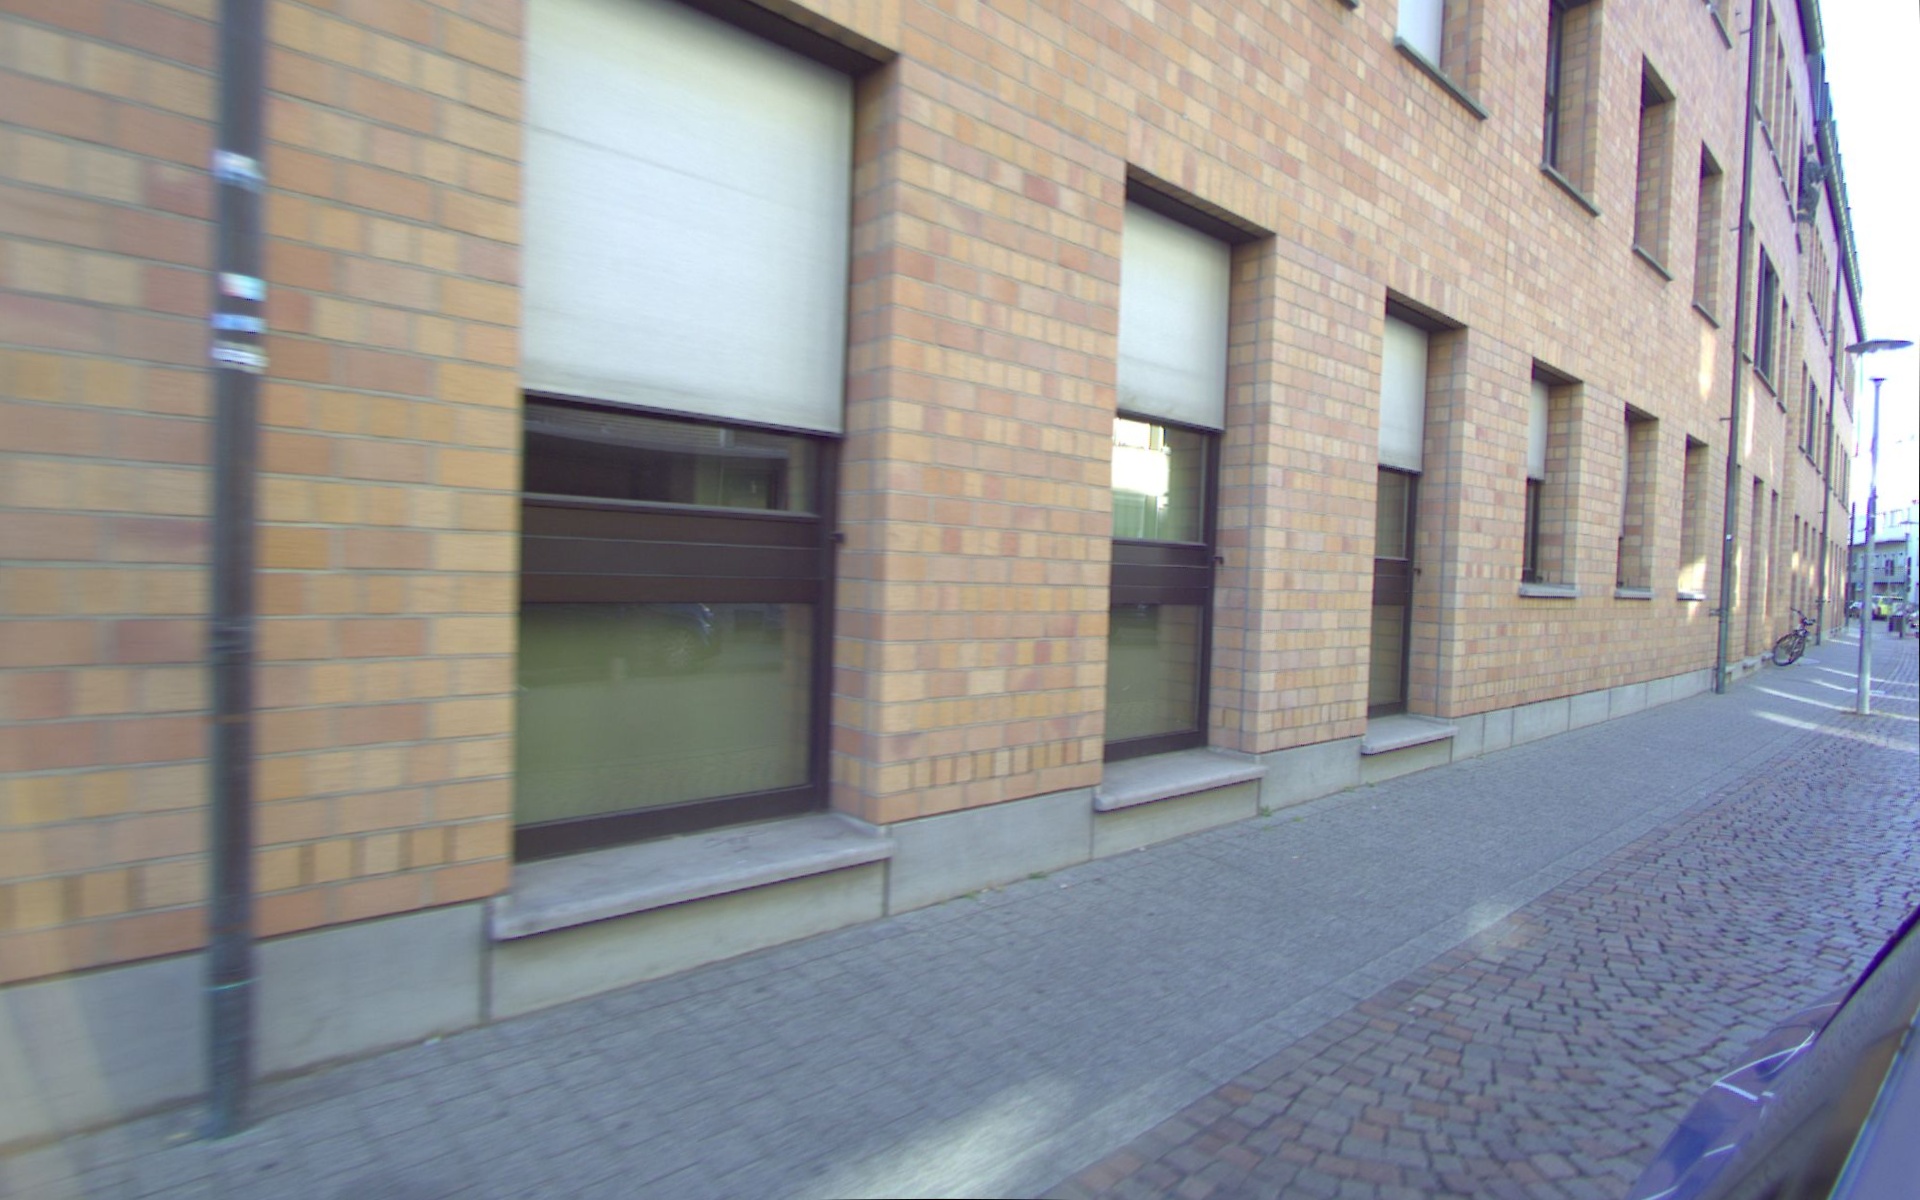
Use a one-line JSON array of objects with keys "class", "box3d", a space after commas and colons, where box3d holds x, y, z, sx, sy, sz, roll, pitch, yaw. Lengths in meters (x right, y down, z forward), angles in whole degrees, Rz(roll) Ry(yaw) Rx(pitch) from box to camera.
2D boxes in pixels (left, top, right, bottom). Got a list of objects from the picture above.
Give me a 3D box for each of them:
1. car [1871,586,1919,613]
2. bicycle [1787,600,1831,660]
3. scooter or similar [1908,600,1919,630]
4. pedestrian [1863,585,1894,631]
[{"class": "car", "box3d": [72.489, -0.056, 78.429, 1.875, 1.896, 3.958, 6, 4, 30]}, {"class": "bicycle", "box3d": [17.277, 0.587, 20.586, 0.550, 1.116, 1.952, 7, 5, 41]}, {"class": "scooter or similar", "box3d": [41.386, 0.659, 43.200, 1.390, 1.251, 0.539, 1, 0, -8]}, {"class": "pedestrian", "box3d": [36.137, 0.310, 39.815, 0.761, 1.737, 0.808, 6, 4, 44]}]
